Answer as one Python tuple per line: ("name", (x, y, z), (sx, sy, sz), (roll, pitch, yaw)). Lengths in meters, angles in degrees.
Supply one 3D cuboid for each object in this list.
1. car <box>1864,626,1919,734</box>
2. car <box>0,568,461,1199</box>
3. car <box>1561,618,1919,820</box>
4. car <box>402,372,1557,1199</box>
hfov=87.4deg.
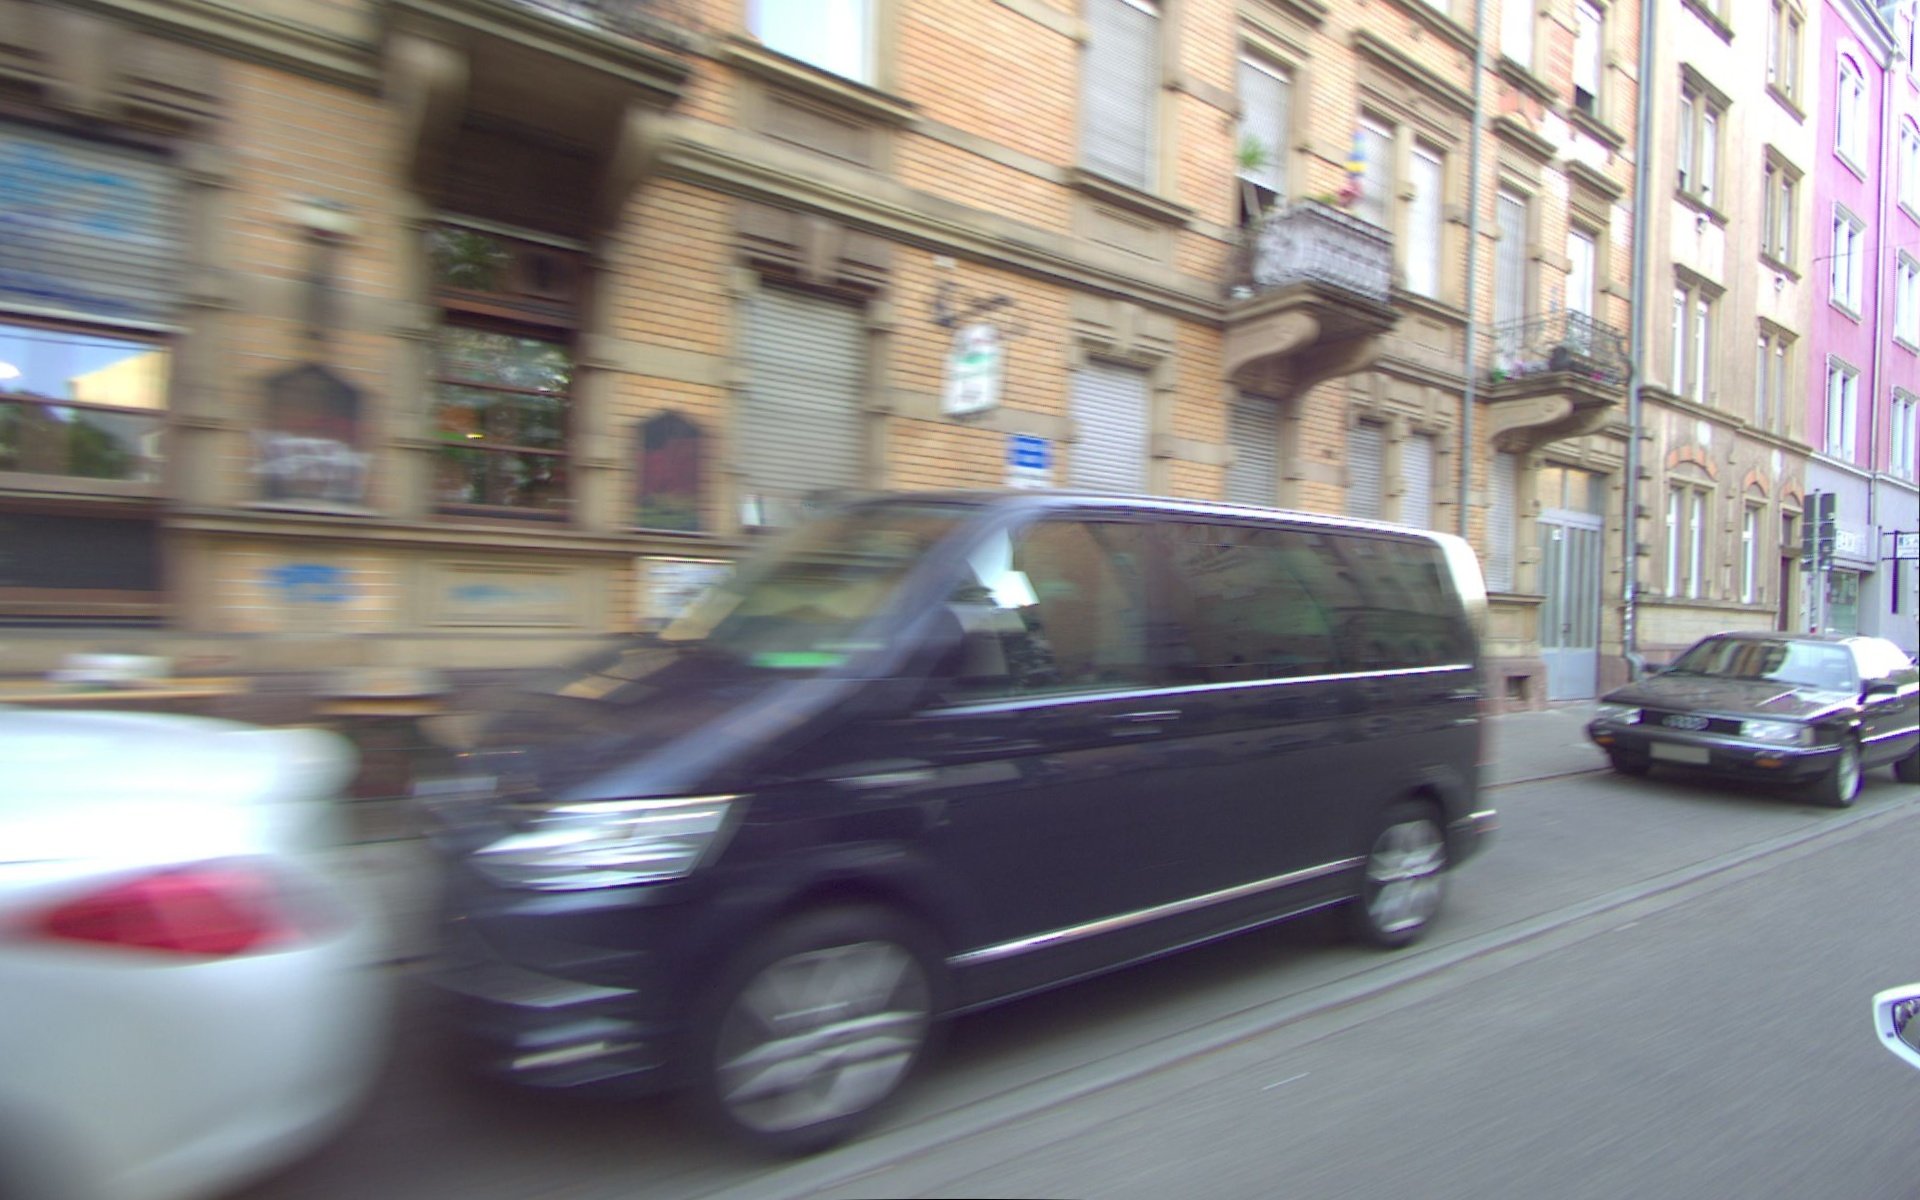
("car", (15.431, 1.227, 15.062), (4.164, 1.477, 1.822), (2, 3, -35))
("car", (-3.359, 0.642, 1.486), (4.444, 1.442, 1.770), (2, 2, -37))
("car", (7.844, 0.993, 9.694), (4.732, 1.437, 1.725), (2, 1, -36))
("car", (0.480, 0.495, 4.443), (4.906, 1.949, 1.978), (1, 2, -38))
